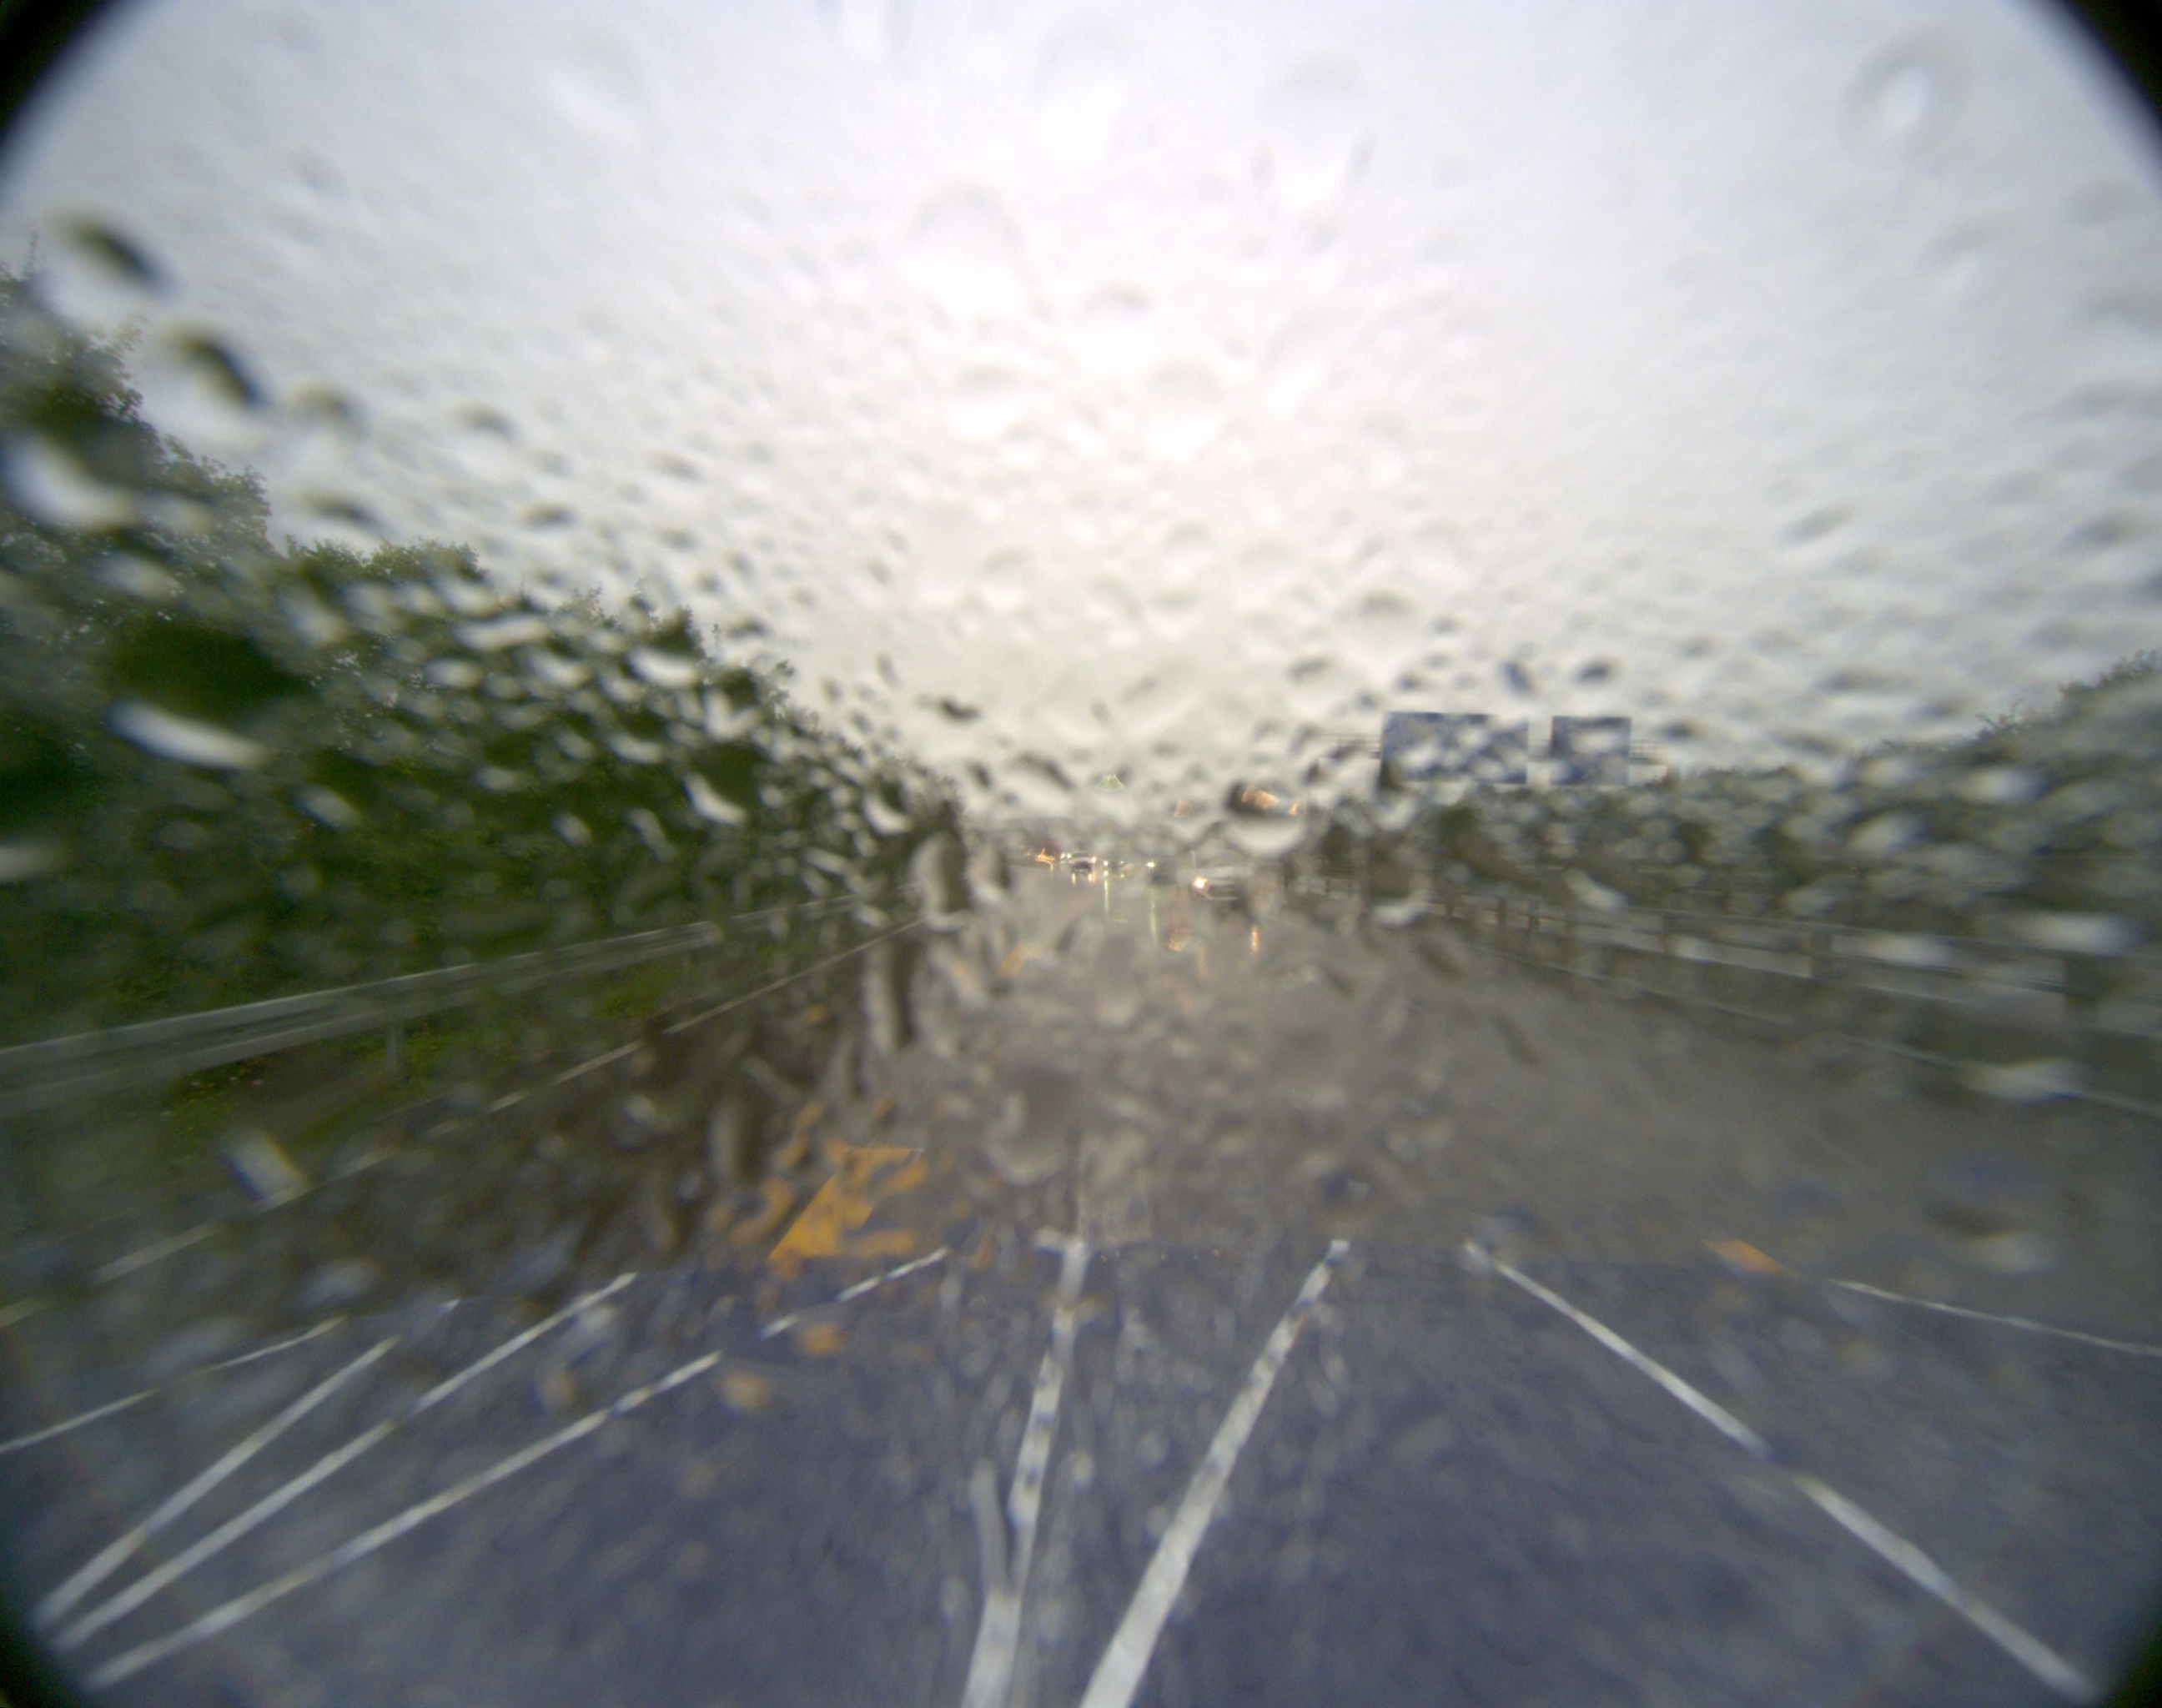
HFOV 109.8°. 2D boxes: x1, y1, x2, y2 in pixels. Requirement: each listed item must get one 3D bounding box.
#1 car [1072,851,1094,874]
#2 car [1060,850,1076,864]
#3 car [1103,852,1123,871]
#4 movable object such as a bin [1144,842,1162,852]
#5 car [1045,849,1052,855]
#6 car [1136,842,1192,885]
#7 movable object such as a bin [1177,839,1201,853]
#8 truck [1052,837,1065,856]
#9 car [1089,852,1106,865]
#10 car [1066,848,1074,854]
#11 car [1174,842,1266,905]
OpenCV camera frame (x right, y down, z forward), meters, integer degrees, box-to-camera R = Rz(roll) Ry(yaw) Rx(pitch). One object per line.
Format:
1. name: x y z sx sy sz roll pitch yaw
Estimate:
1. car: 0.195 0.791 73.829 1.882 2.002 3.998 -3 1 -3
2. car: -1.691 0.410 97.049 1.882 1.656 3.998 -2 1 -3
3. car: 3.220 0.765 76.390 1.695 1.740 3.999 -3 1 -1
4. movable object such as a bin: 18.873 -1.819 200.244 3.449 2.281 5.096 -3 1 -9
5. car: -8.842 -0.581 209.025 1.834 1.740 3.998 -3 1 -3
6. car: 4.263 0.423 40.093 2.211 2.002 5.563 -3 1 -1
7. movable object such as a bin: 22.515 -1.661 159.004 3.775 2.782 6.328 -3 1 -2
8. truck: -4.870 -1.636 164.454 2.484 4.061 8.701 -3 1 -3
9. car: 2.221 0.561 103.290 1.845 1.586 3.998 -3 1 -3
10. car: -2.715 -0.750 186.541 1.752 1.579 3.998 -3 1 -3
11. car: 3.878 0.543 21.936 1.978 1.586 4.310 -2 -1 2
